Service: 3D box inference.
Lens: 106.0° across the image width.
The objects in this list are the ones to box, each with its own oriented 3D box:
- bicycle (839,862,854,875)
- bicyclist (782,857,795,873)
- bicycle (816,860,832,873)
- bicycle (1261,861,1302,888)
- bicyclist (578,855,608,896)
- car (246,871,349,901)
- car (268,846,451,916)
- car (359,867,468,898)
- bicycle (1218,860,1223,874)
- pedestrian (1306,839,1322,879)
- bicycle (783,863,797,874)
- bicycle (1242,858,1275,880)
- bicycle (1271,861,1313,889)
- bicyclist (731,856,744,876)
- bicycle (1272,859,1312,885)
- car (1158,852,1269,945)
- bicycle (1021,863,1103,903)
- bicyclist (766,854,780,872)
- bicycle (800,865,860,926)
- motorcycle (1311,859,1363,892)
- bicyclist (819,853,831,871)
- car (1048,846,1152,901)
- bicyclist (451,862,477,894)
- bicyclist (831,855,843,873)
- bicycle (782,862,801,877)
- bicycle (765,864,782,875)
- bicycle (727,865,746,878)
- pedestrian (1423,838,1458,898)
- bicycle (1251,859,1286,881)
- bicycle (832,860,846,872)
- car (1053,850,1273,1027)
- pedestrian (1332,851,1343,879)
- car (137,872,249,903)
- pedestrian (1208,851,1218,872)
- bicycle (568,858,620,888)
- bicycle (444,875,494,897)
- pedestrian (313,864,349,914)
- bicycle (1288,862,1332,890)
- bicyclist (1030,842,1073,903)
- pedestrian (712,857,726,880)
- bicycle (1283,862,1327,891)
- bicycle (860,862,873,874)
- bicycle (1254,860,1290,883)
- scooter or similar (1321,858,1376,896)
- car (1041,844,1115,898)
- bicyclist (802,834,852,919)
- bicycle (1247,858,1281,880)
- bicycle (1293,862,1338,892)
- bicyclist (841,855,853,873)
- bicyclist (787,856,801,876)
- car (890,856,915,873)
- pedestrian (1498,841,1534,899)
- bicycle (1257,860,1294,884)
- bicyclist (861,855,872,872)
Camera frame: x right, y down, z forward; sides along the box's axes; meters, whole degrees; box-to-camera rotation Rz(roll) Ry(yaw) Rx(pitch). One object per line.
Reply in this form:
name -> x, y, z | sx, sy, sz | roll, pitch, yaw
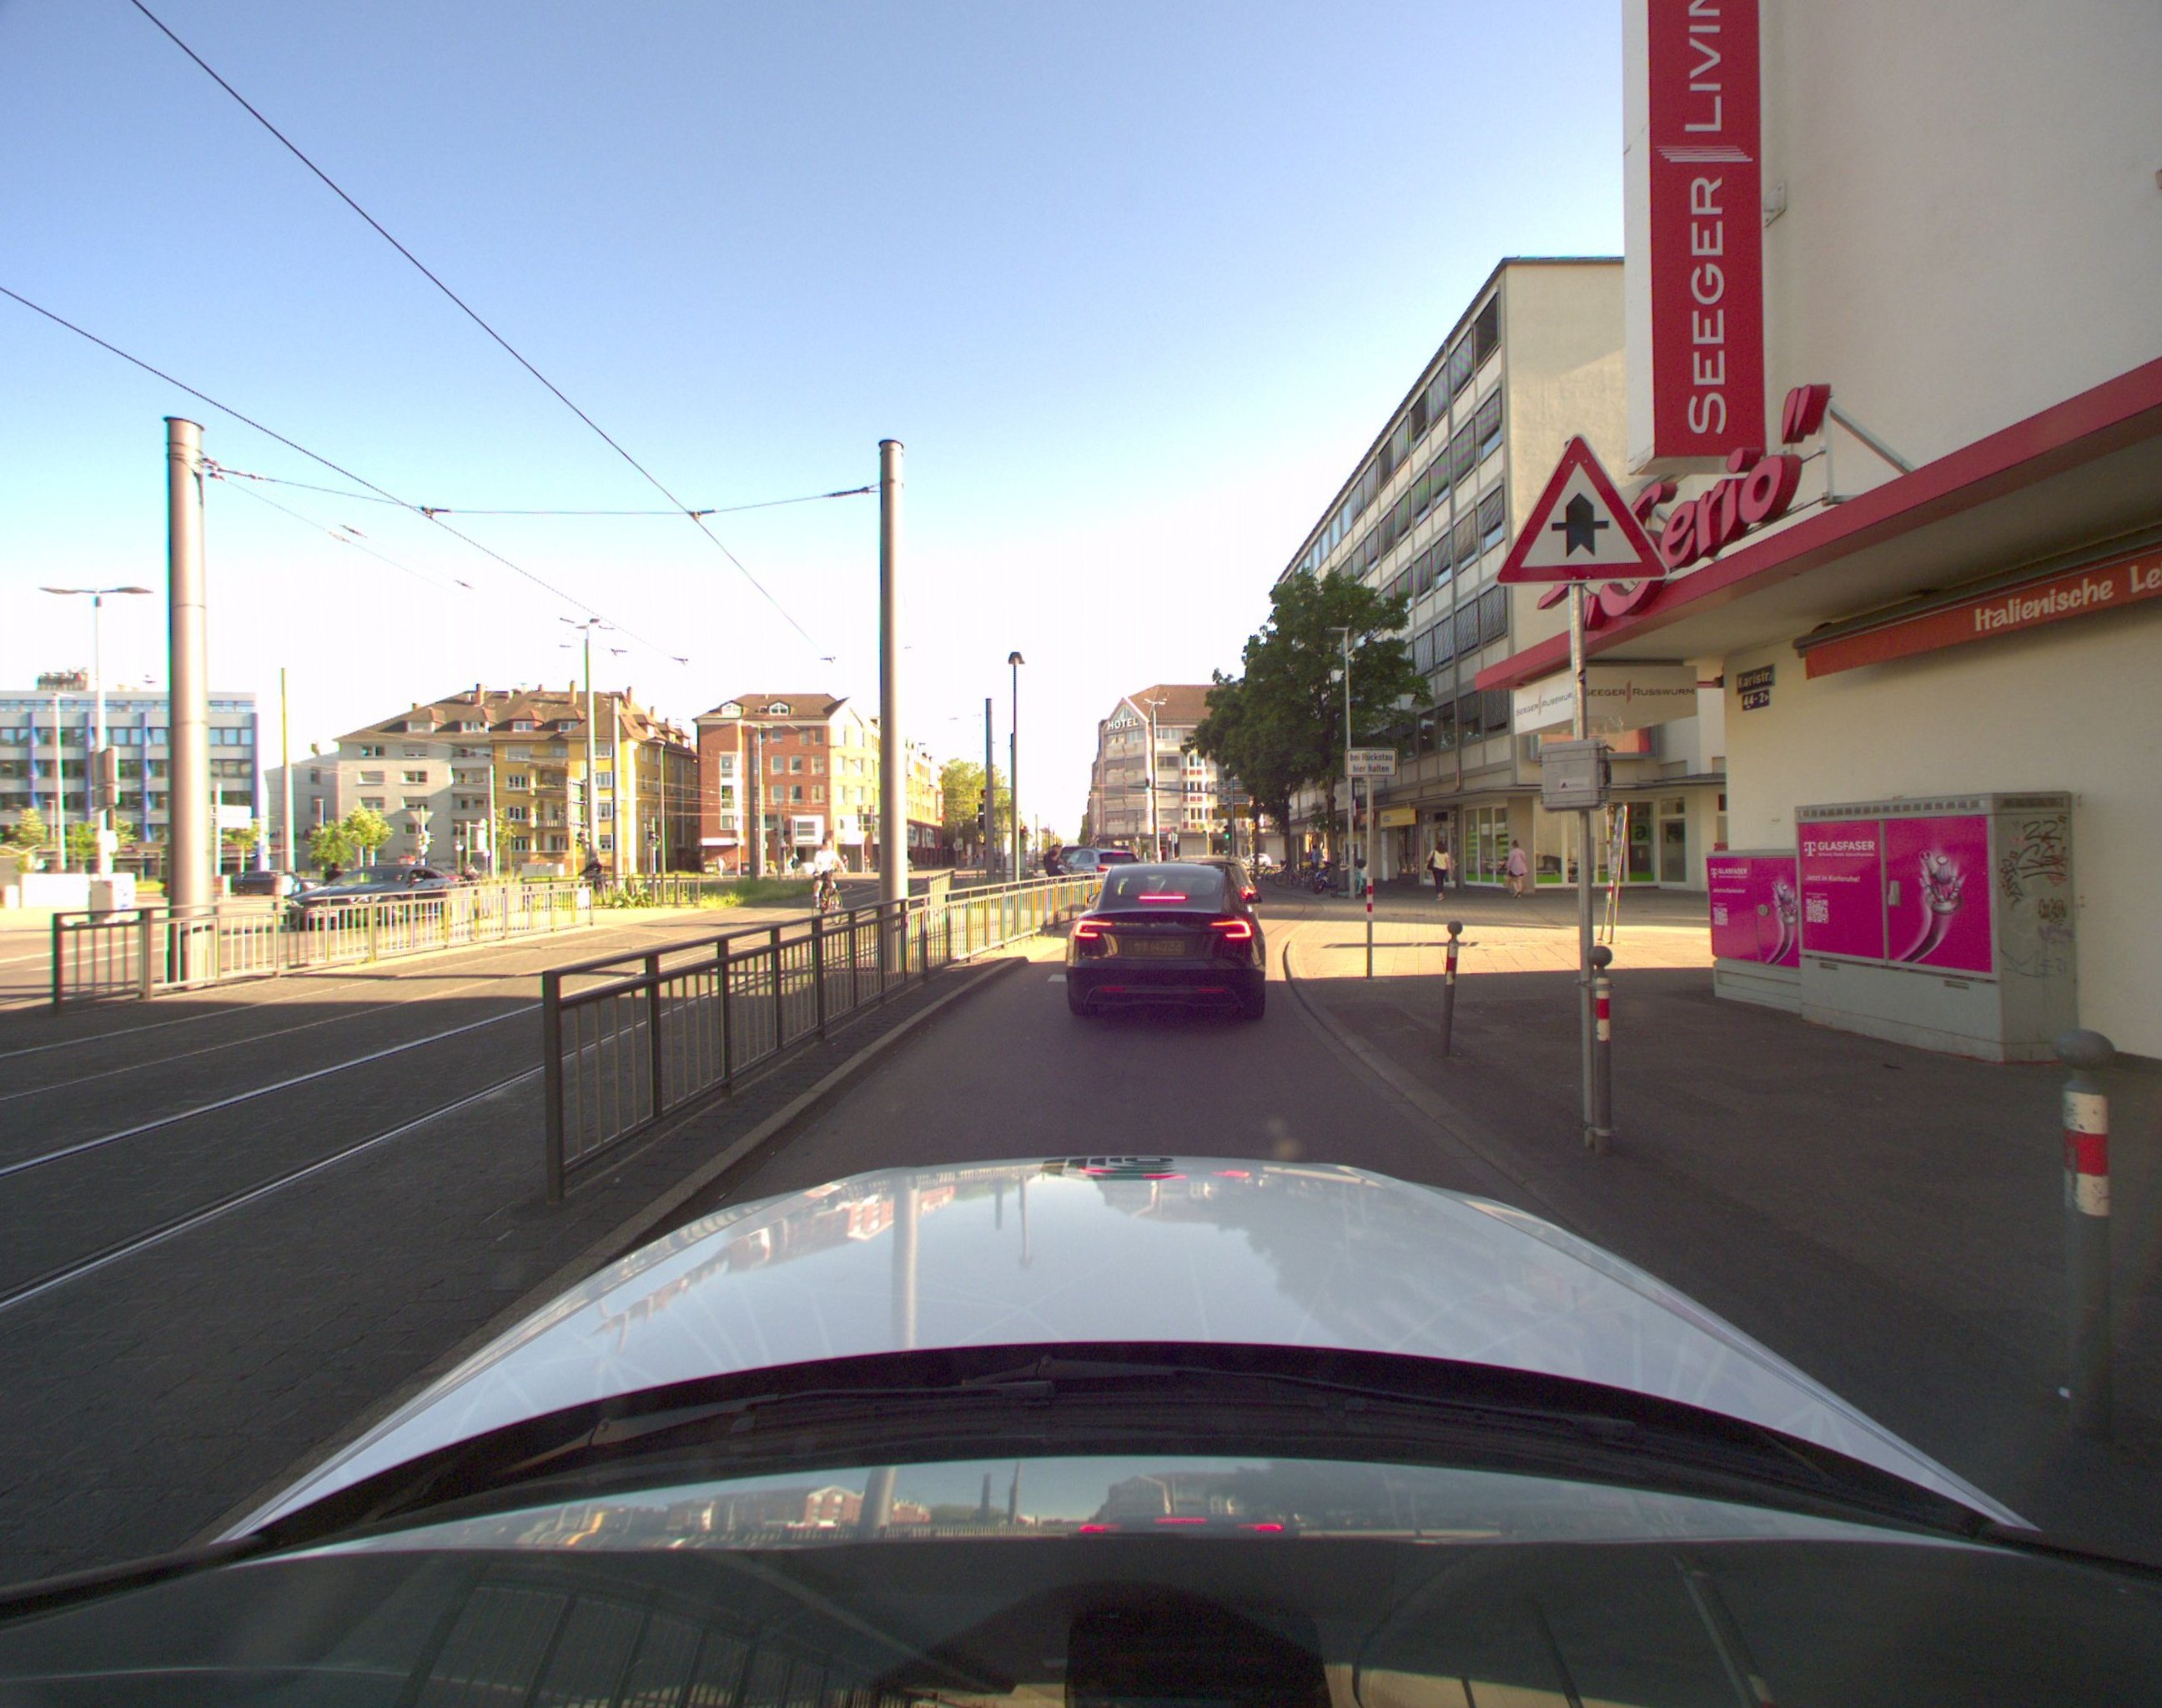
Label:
bicycle -> -20.391, 1.270, 70.861 | 0.527, 1.088, 2.227 | -1, 0, 4
bicyclist -> -26.871, 0.984, 74.928 | 0.699, 1.471, 0.975 | -1, 0, 9
bicycle -> -22.329, 1.052, 70.850 | 0.527, 1.088, 2.286 | -1, 0, 4
bicycle -> 8.410, 0.842, 34.178 | 1.649, 1.099, 0.349 | 0, -1, -9
bicyclist -> -18.686, 0.824, 31.198 | 0.782, 1.527, 0.589 | 0, -1, 5
car -> -45.491, 1.842, 47.379 | 3.984, 1.672, 1.772 | 0, -1, -8
car -> -17.284, 0.603, 19.787 | 1.714, 1.527, 4.015 | 0, -1, -15
car -> -39.554, 1.657, 48.356 | 4.585, 1.700, 1.993 | 0, -1, -10
bicycle -> 10.911, 1.025, 63.745 | 0.330, 1.034, 1.258 | 0, -1, 6
pedestrian -> 11.783, 0.236, 41.275 | 0.659, 2.014, 0.580 | 0, -1, 4
bicycle -> -26.818, 1.360, 75.063 | 0.402, 0.981, 1.699 | -1, -1, 10
bicycle -> 9.247, 0.790, 42.394 | 1.643, 1.099, 0.350 | 0, -1, 3
bicycle -> 8.619, 0.846, 33.321 | 1.649, 1.099, 0.349 | 0, -1, -9
bicyclist -> -26.030, 0.919, 61.688 | 0.631, 1.503, 0.696 | 0, -1, 1
bicycle -> 9.121, 0.785, 35.259 | 1.643, 1.099, 0.350 | 0, -1, 3
car -> 2.404, 0.710, 15.001 | 1.741, 1.454, 4.009 | -1, 0, 8
bicycle -> -0.507, 0.788, 22.631 | 2.346, 1.053, 0.624 | 0, -1, -36
bicyclist -> -25.948, 0.775, 68.517 | 0.895, 1.503, 0.696 | 0, -1, 1
bicycle -> -5.330, 0.848, 17.230 | 0.488, 1.222, 1.832 | 0, -1, -43
motorcycle -> 9.147, 0.768, 29.170 | 1.701, 1.173, 0.541 | 0, -1, 0
bicyclist -> -22.313, 0.719, 70.932 | 0.780, 1.563, 0.747 | 0, -1, 3
car -> 0.516, 0.607, 26.634 | 1.891, 1.662, 4.126 | 0, -1, -23
bicyclist -> -34.743, 1.336, 45.896 | 0.901, 1.808, 0.788 | 0, -1, -11
bicyclist -> -22.079, 0.885, 73.727 | 0.780, 1.563, 0.747 | -1, 0, 3
bicycle -> -22.499, 1.192, 63.381 | 0.535, 1.088, 2.227 | 0, -1, 4
bicycle -> -25.962, 1.298, 68.703 | 0.522, 0.972, 2.247 | 0, -1, 2
bicycle -> -26.039, 1.311, 61.630 | 0.445, 0.972, 2.247 | 0, -1, 2
pedestrian -> 10.692, 0.406, 24.220 | 0.906, 1.752, 1.044 | -1, 0, 25
bicycle -> 9.283, 0.797, 40.252 | 1.643, 1.099, 0.350 | 0, -1, 3
bicycle -> -22.057, 1.055, 74.246 | 0.527, 1.088, 2.286 | 0, -1, 4
car -> 0.910, 0.720, 8.801 | 1.820, 1.455, 4.007 | 0, -1, 7
pedestrian -> 12.756, 0.546, 40.506 | 0.388, 1.343, 0.513 | 0, -1, 4
car -> -50.673, 1.882, 46.551 | 3.952, 1.685, 1.903 | 0, -1, -11
pedestrian -> 10.369, 0.565, 64.007 | 0.697, 1.662, 0.777 | 0, -1, 1
bicycle -> -18.655, 0.711, 31.249 | 0.456, 1.093, 2.205 | 0, -1, 6
bicycle -> -34.507, 1.814, 45.935 | 2.188, 1.214, 0.544 | 0, -1, -11
pedestrian -> -25.581, 1.181, 27.787 | 0.776, 1.681, 0.587 | 0, -1, -28
bicycle -> 8.819, 0.856, 31.363 | 1.649, 1.061, 0.349 | 0, -1, -9
bicyclist -> -0.817, 0.488, 22.388 | 0.763, 1.628, 0.967 | 0, -1, -37
pedestrian -> -28.618, 1.172, 64.373 | 0.780, 1.820, 0.747 | 0, -1, 3
bicycle -> 8.733, 0.858, 31.789 | 1.649, 1.099, 0.349 | 0, -1, -9
bicycle -> -20.323, 1.308, 77.099 | 0.527, 1.088, 2.227 | 0, -1, 4
bicycle -> 9.207, 0.840, 39.239 | 1.643, 1.099, 0.350 | 0, -1, 3
scooter or similar -> 8.900, 0.763, 27.100 | 1.625, 1.215, 0.649 | -1, -1, 32
car -> -0.195, 0.664, 32.745 | 1.997, 2.014, 3.980 | -1, 0, -15
bicyclist -> -5.376, 0.468, 17.249 | 0.763, 1.759, 0.744 | 0, -1, -43
bicycle -> 9.266, 0.760, 41.299 | 1.643, 1.099, 0.350 | -1, 0, 3
bicycle -> 8.897, 0.859, 30.939 | 1.649, 1.099, 0.349 | 0, -1, -9
bicyclist -> -20.432, 0.835, 71.038 | 0.780, 1.563, 0.747 | -1, 0, 3
bicyclist -> -22.451, 0.961, 63.777 | 0.780, 1.563, 0.747 | 0, -1, 3
car -> -17.994, 1.039, 82.135 | 1.692, 1.731, 3.706 | 0, -1, 0
pedestrian -> 12.799, 0.456, 23.995 | 0.881, 1.667, 0.813 | -1, -1, 25
bicycle -> 9.143, 0.836, 38.213 | 1.643, 1.099, 0.350 | 0, -1, 3
bicyclist -> -20.333, 0.880, 77.098 | 0.780, 1.563, 0.747 | 0, -1, 3
